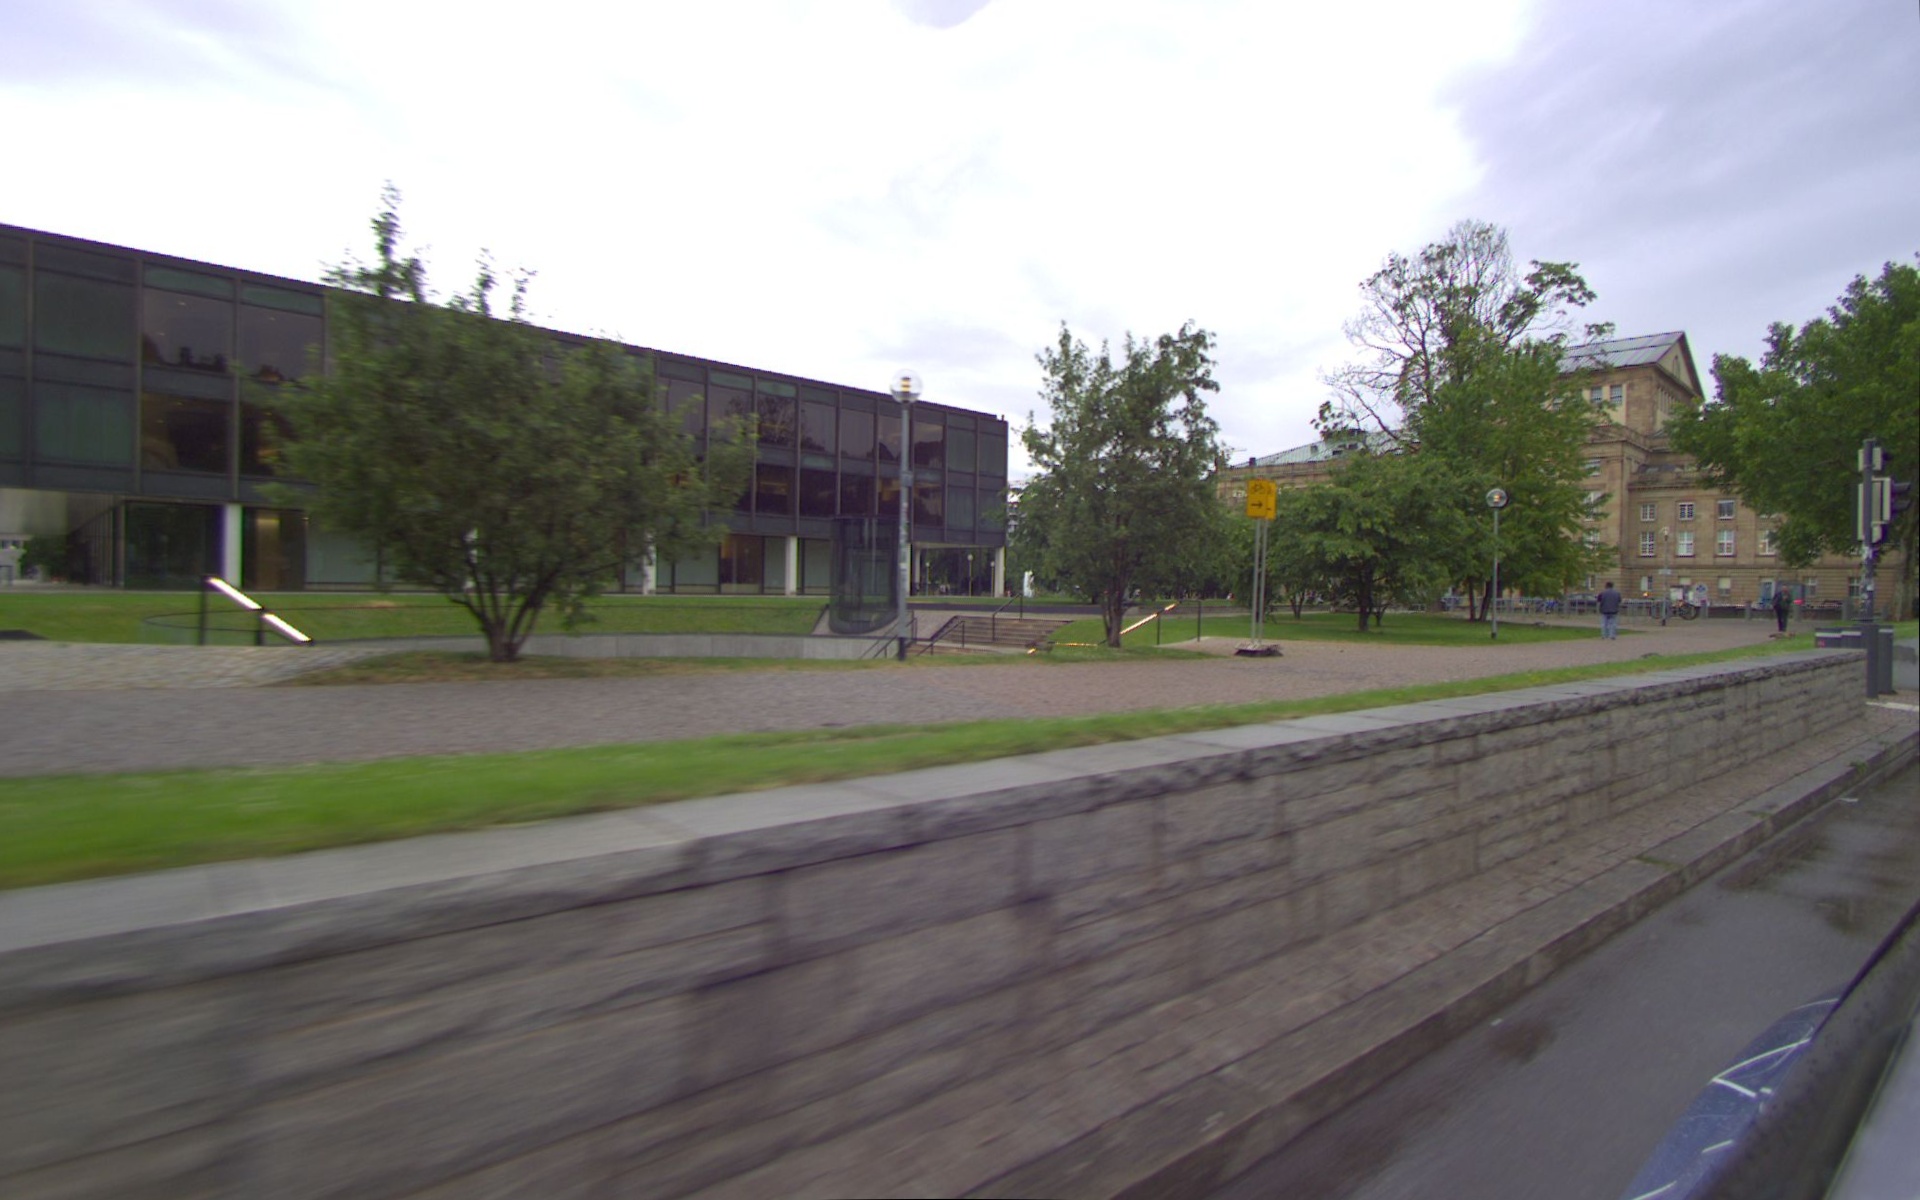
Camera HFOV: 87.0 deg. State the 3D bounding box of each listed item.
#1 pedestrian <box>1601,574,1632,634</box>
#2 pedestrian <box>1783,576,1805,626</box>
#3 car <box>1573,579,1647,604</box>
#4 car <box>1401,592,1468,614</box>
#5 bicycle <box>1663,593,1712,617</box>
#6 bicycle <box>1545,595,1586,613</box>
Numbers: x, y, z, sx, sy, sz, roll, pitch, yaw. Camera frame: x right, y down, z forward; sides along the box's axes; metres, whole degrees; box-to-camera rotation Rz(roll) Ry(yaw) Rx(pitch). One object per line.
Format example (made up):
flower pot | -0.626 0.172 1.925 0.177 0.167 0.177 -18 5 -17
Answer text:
pedestrian | 18.536 0.104 28.586 0.665 1.686 0.582 1 1 32
pedestrian | 30.107 0.035 36.547 0.592 1.796 0.579 -1 -1 39
car | 44.148 -0.576 68.764 1.925 1.614 3.939 0 0 -44
car | 36.527 0.223 77.977 1.925 1.614 4.286 0 0 -44
bicycle | 33.639 0.244 46.824 1.740 1.079 0.820 -1 0 29
bicycle | 28.251 0.169 47.211 1.611 0.806 0.505 1 0 29
